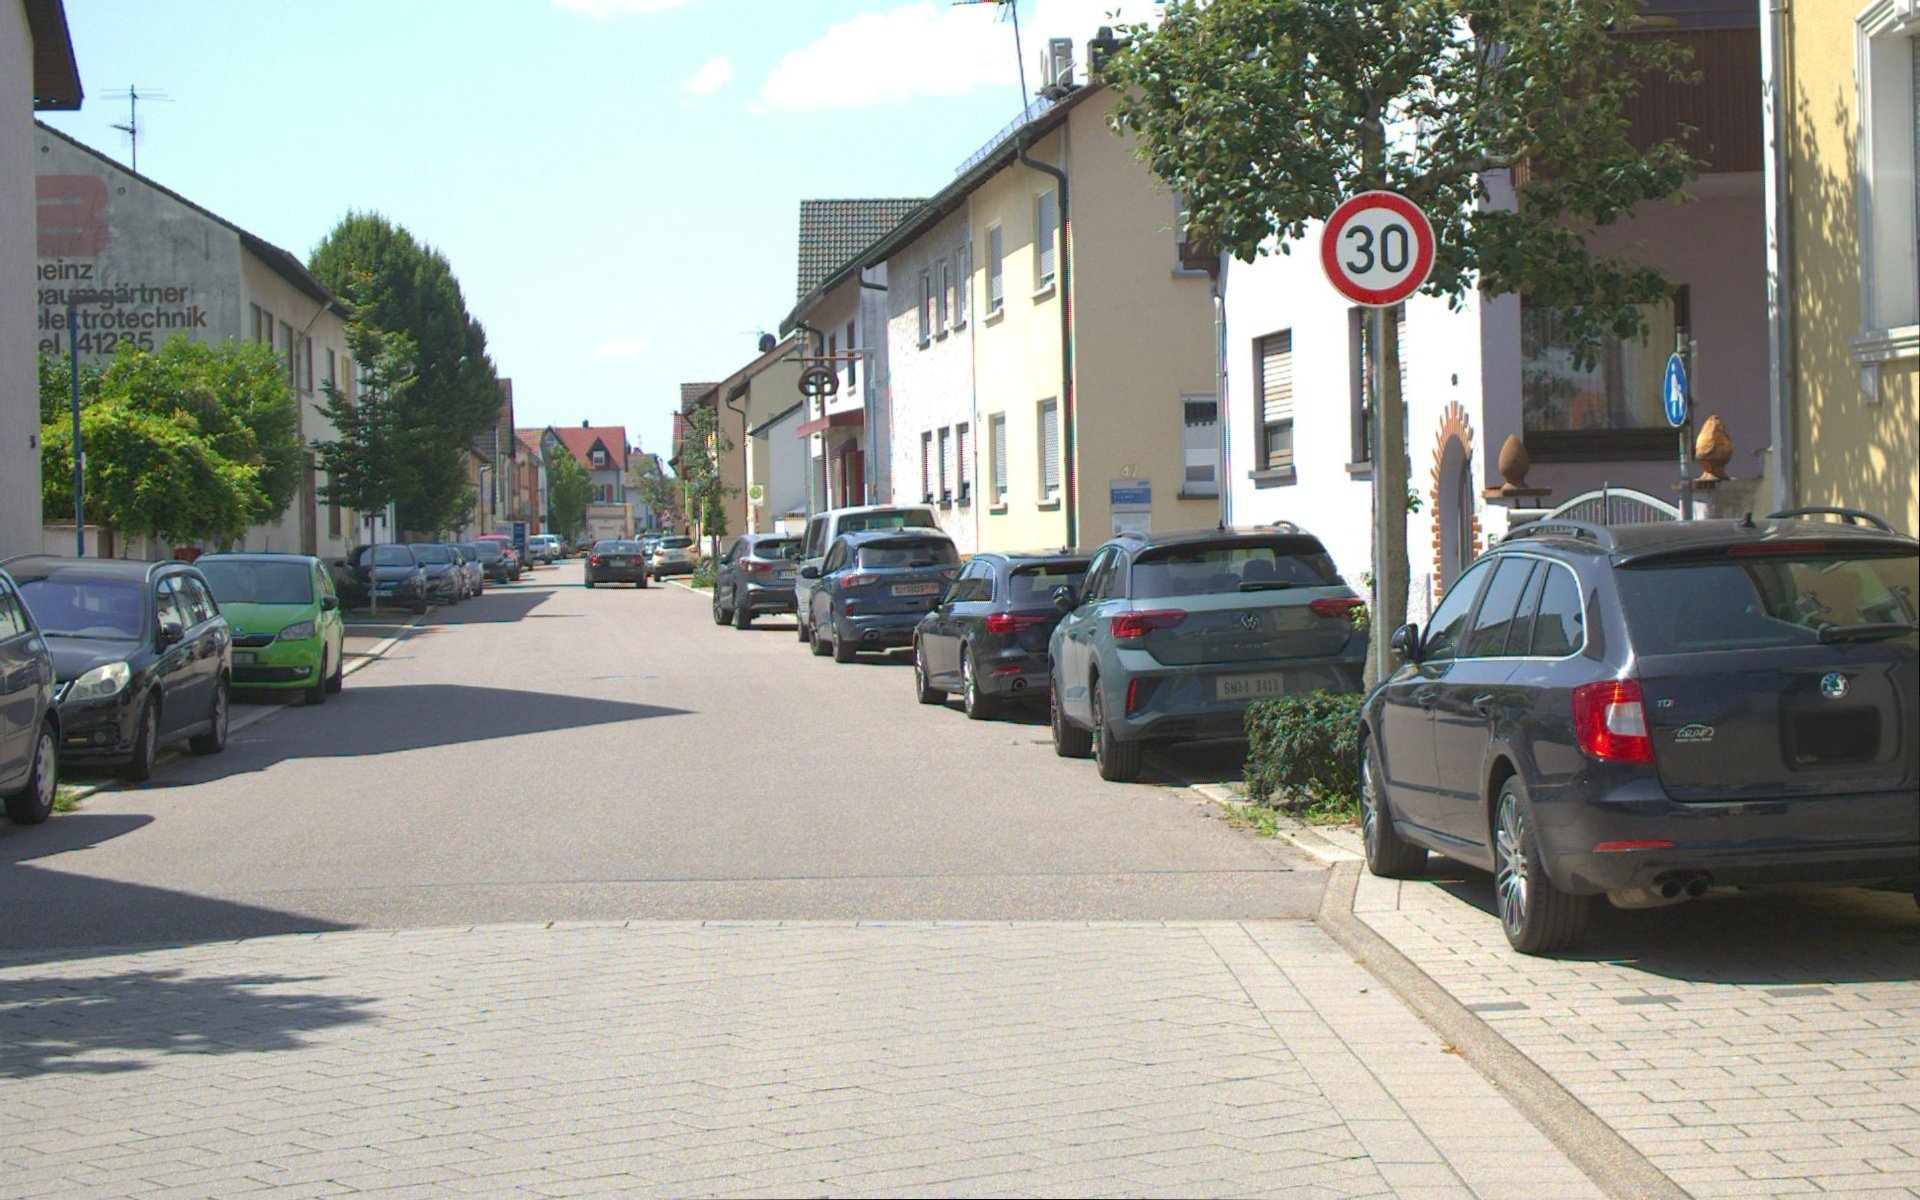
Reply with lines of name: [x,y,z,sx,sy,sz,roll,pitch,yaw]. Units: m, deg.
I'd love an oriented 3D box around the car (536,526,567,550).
car: [-27.783,-4.226,233.925,1.920,1.662,4.001,0,1,-5]

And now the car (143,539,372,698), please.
car: [-7.097,0.143,35.070,1.792,1.470,3.871,-1,1,-4]

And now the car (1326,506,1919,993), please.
car: [2.711,0.426,13.032,1.829,1.466,4.277,-3,1,-4]

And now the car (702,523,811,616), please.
car: [-3.495,-0.542,58.651,1.754,1.487,4.001,-1,1,-4]

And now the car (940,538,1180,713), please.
car: [0.820,0.174,30.252,1.710,1.382,3.706,-1,1,-4]

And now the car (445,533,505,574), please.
car: [-17.706,-1.705,125.691,1.916,1.437,4.001,-1,1,-5]

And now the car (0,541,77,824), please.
car: [-6.092,0.460,18.490,1.747,1.525,4.001,0,1,-1]

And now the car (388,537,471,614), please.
car: [-12.784,-0.610,82.948,1.683,1.752,3.616,-1,1,-5]

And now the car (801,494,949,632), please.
car: [-1.264,-0.559,49.582,1.906,1.865,4.001,-1,1,-4]

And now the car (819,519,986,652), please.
car: [-0.778,-0.228,44.005,1.877,1.585,4.001,-1,1,-4]

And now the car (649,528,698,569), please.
car: [-10.388,-1.882,124.905,1.687,1.447,3.793,-1,1,-4]

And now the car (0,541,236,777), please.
car: [-6.433,0.354,24.818,1.750,1.527,4.260,0,1,-3]

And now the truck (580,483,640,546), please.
truck: [-22.674,-5.534,222.462,3.564,3.940,8.583,-1,1,-7]

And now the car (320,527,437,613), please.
car: [-11.871,-0.636,70.361,1.993,1.656,4.001,-1,1,-5]

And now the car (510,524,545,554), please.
car: [-25.472,-3.600,202.628,1.847,1.701,3.720,-1,1,-5]

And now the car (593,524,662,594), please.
car: [-10.227,-1.285,106.027,1.993,2.050,4.375,-1,1,-5]

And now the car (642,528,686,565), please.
car: [-11.898,-2.164,138.350,1.687,1.447,3.793,-1,1,-4]

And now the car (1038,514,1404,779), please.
car: [1.623,0.235,22.650,1.846,1.557,3.694,-1,1,-4]
